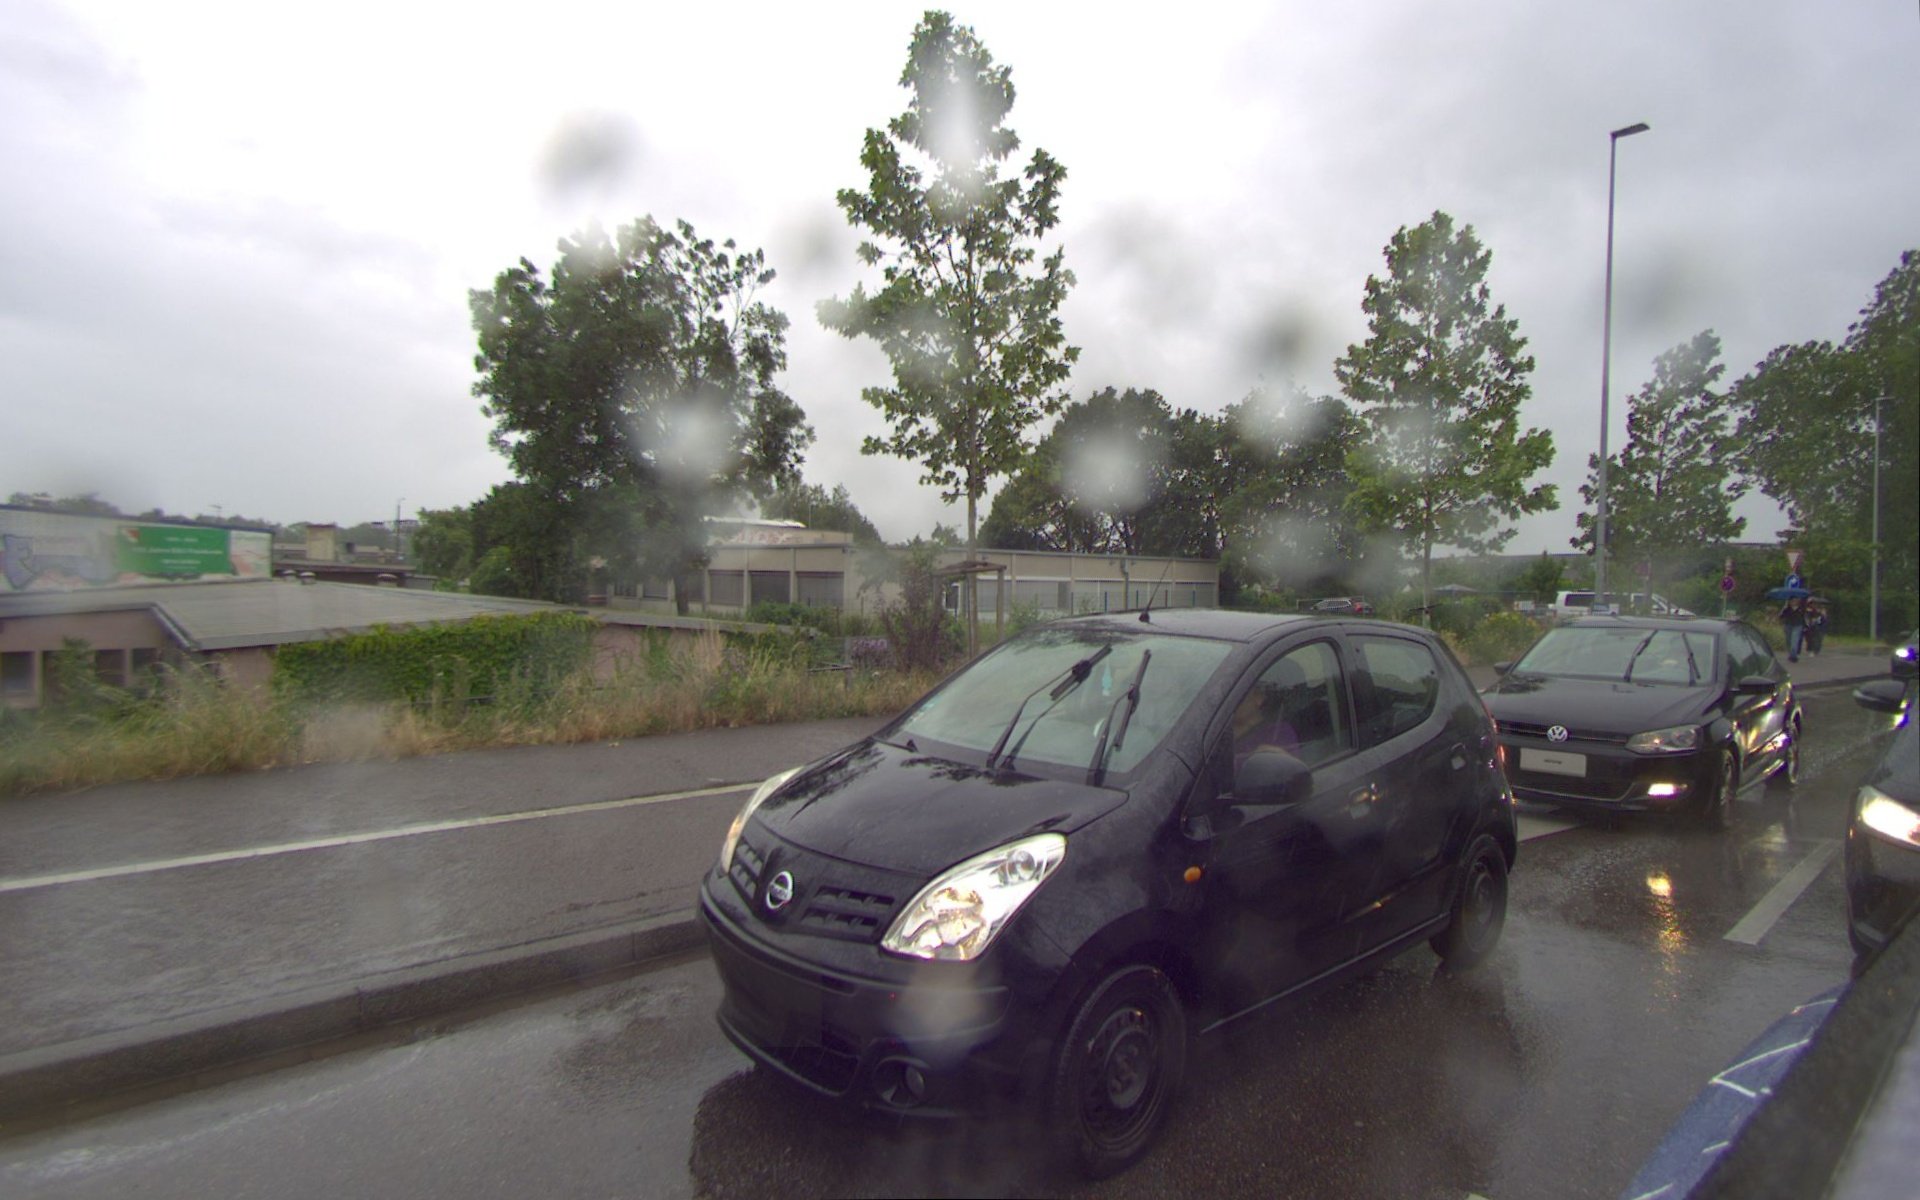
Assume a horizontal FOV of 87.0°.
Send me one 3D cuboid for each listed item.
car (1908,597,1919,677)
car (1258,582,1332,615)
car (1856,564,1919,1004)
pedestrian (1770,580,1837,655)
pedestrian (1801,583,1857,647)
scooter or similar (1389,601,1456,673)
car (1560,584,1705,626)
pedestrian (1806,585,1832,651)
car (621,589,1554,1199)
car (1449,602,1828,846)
[{"bbox_3d":[21.115,0.733,21.030,3.747,1.594,1.697,-1,0,-41],"label":"car"},{"bbox_3d":[20.996,-0.111,63.481,1.964,2.039,3.996,0,0,-38],"label":"car"},{"bbox_3d":[5.482,0.655,4.525,4.091,1.607,1.688,-1,0,-41],"label":"car"},{"bbox_3d":[20.779,0.407,24.945,0.953,1.777,1.081,0,3,-42],"label":"pedestrian"},{"bbox_3d":[24.598,0.402,28.647,0.876,1.729,1.024,0,3,-41],"label":"pedestrian"},{"bbox_3d":[7.900,0.606,17.251,1.747,1.144,0.380,-1,2,-43],"label":"scooter or similar"},{"bbox_3d":[28.111,0.169,42.433,1.966,1.670,4.752,-1,1,-42],"label":"car"},{"bbox_3d":[22.319,0.446,26.302,0.433,1.682,0.400,0,3,-42],"label":"pedestrian"},{"bbox_3d":[0.759,0.708,3.879,3.561,1.447,1.631,0,0,-42],"label":"car"},{"bbox_3d":[5.379,0.752,7.865,3.561,1.447,1.631,0,0,-42],"label":"car"}]
